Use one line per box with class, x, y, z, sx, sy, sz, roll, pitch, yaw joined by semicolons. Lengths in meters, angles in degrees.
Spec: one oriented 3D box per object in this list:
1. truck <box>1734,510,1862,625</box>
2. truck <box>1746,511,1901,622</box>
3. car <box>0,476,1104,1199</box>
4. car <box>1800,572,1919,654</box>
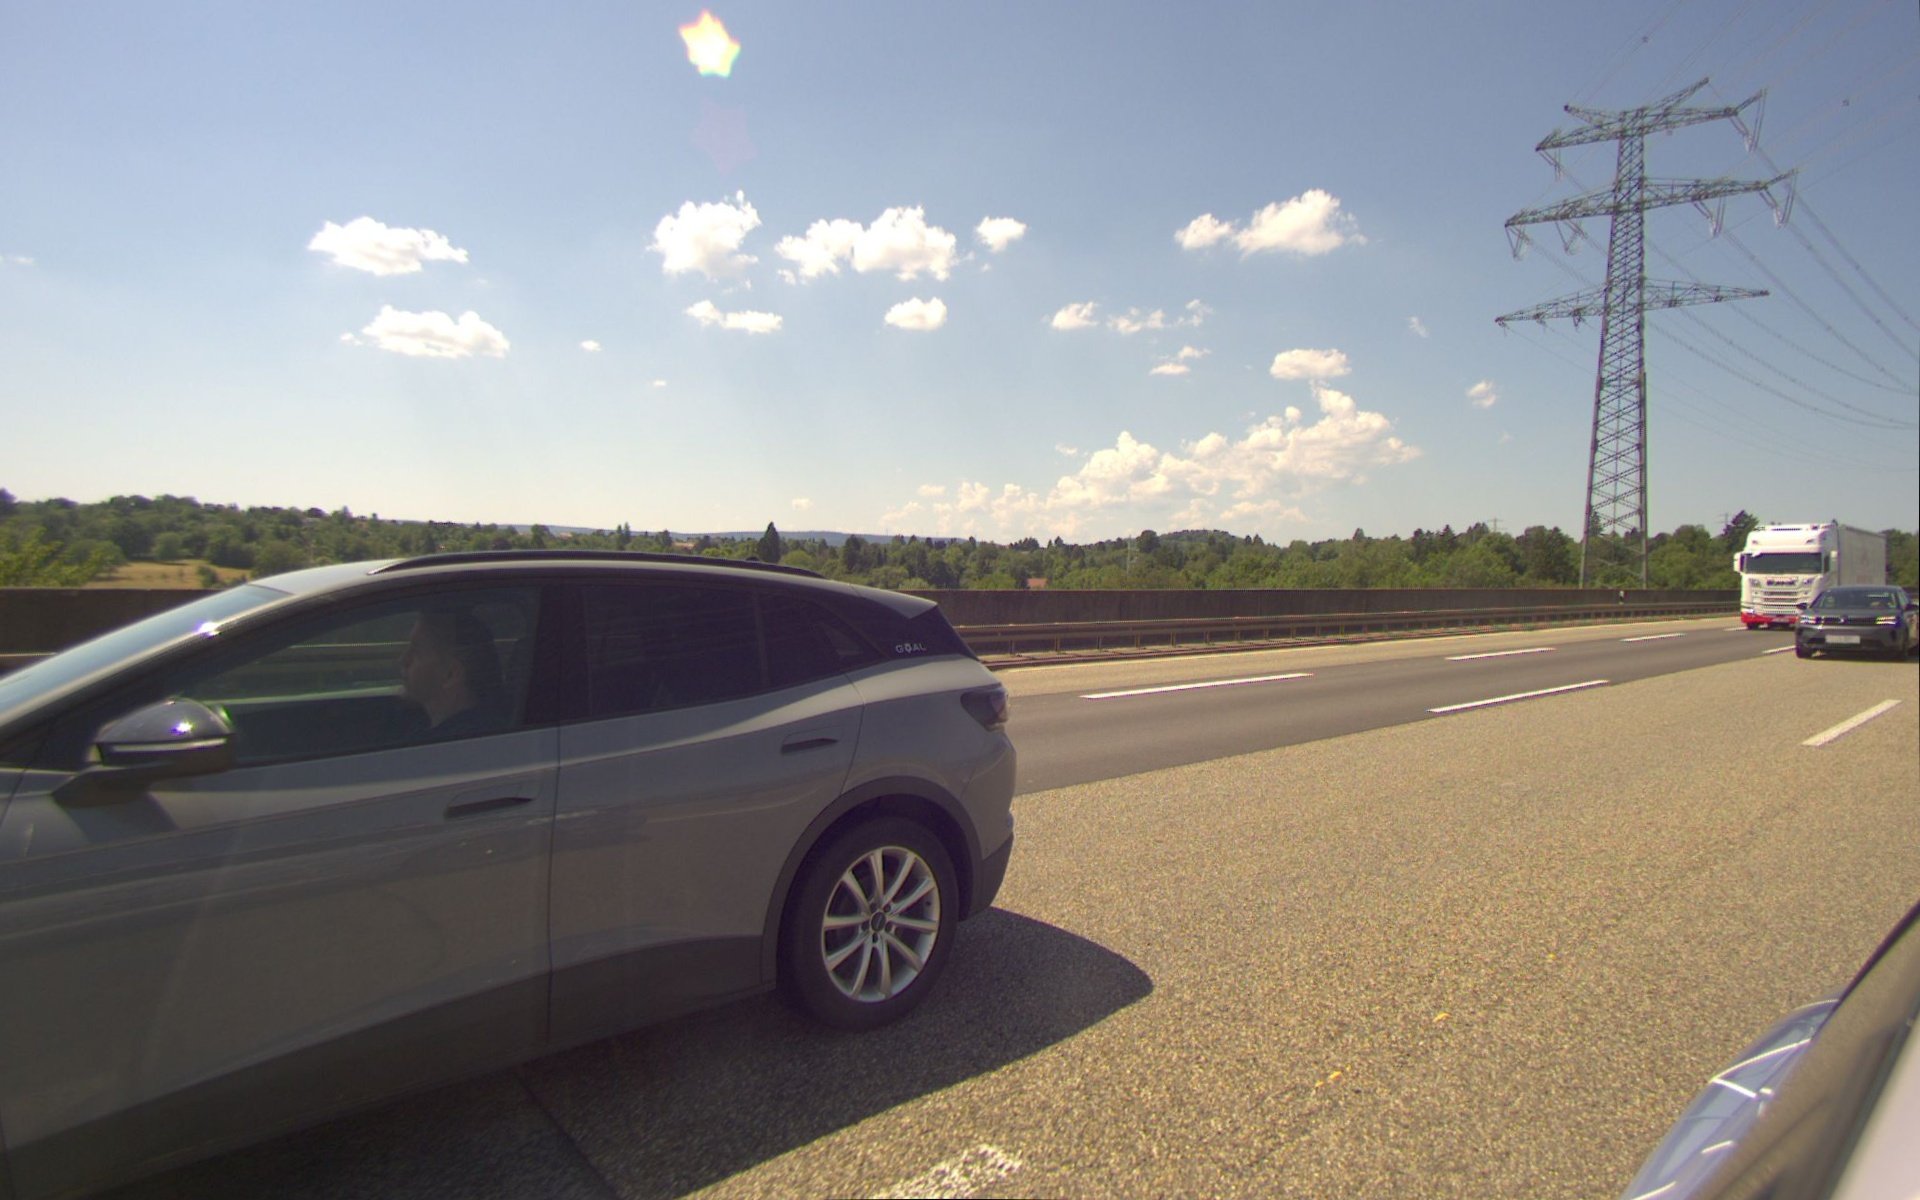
truck;30.844;-1.135;37.242;3.780;3.957;3.074;0;0;-41
truck;35.540;-1.244;41.410;12.286;3.957;3.074;0;0;-41
car;-1.721;0.574;3.353;4.505;1.657;1.871;-1;0;-41
car;20.242;0.243;22.379;3.976;1.667;1.954;-1;0;-41
